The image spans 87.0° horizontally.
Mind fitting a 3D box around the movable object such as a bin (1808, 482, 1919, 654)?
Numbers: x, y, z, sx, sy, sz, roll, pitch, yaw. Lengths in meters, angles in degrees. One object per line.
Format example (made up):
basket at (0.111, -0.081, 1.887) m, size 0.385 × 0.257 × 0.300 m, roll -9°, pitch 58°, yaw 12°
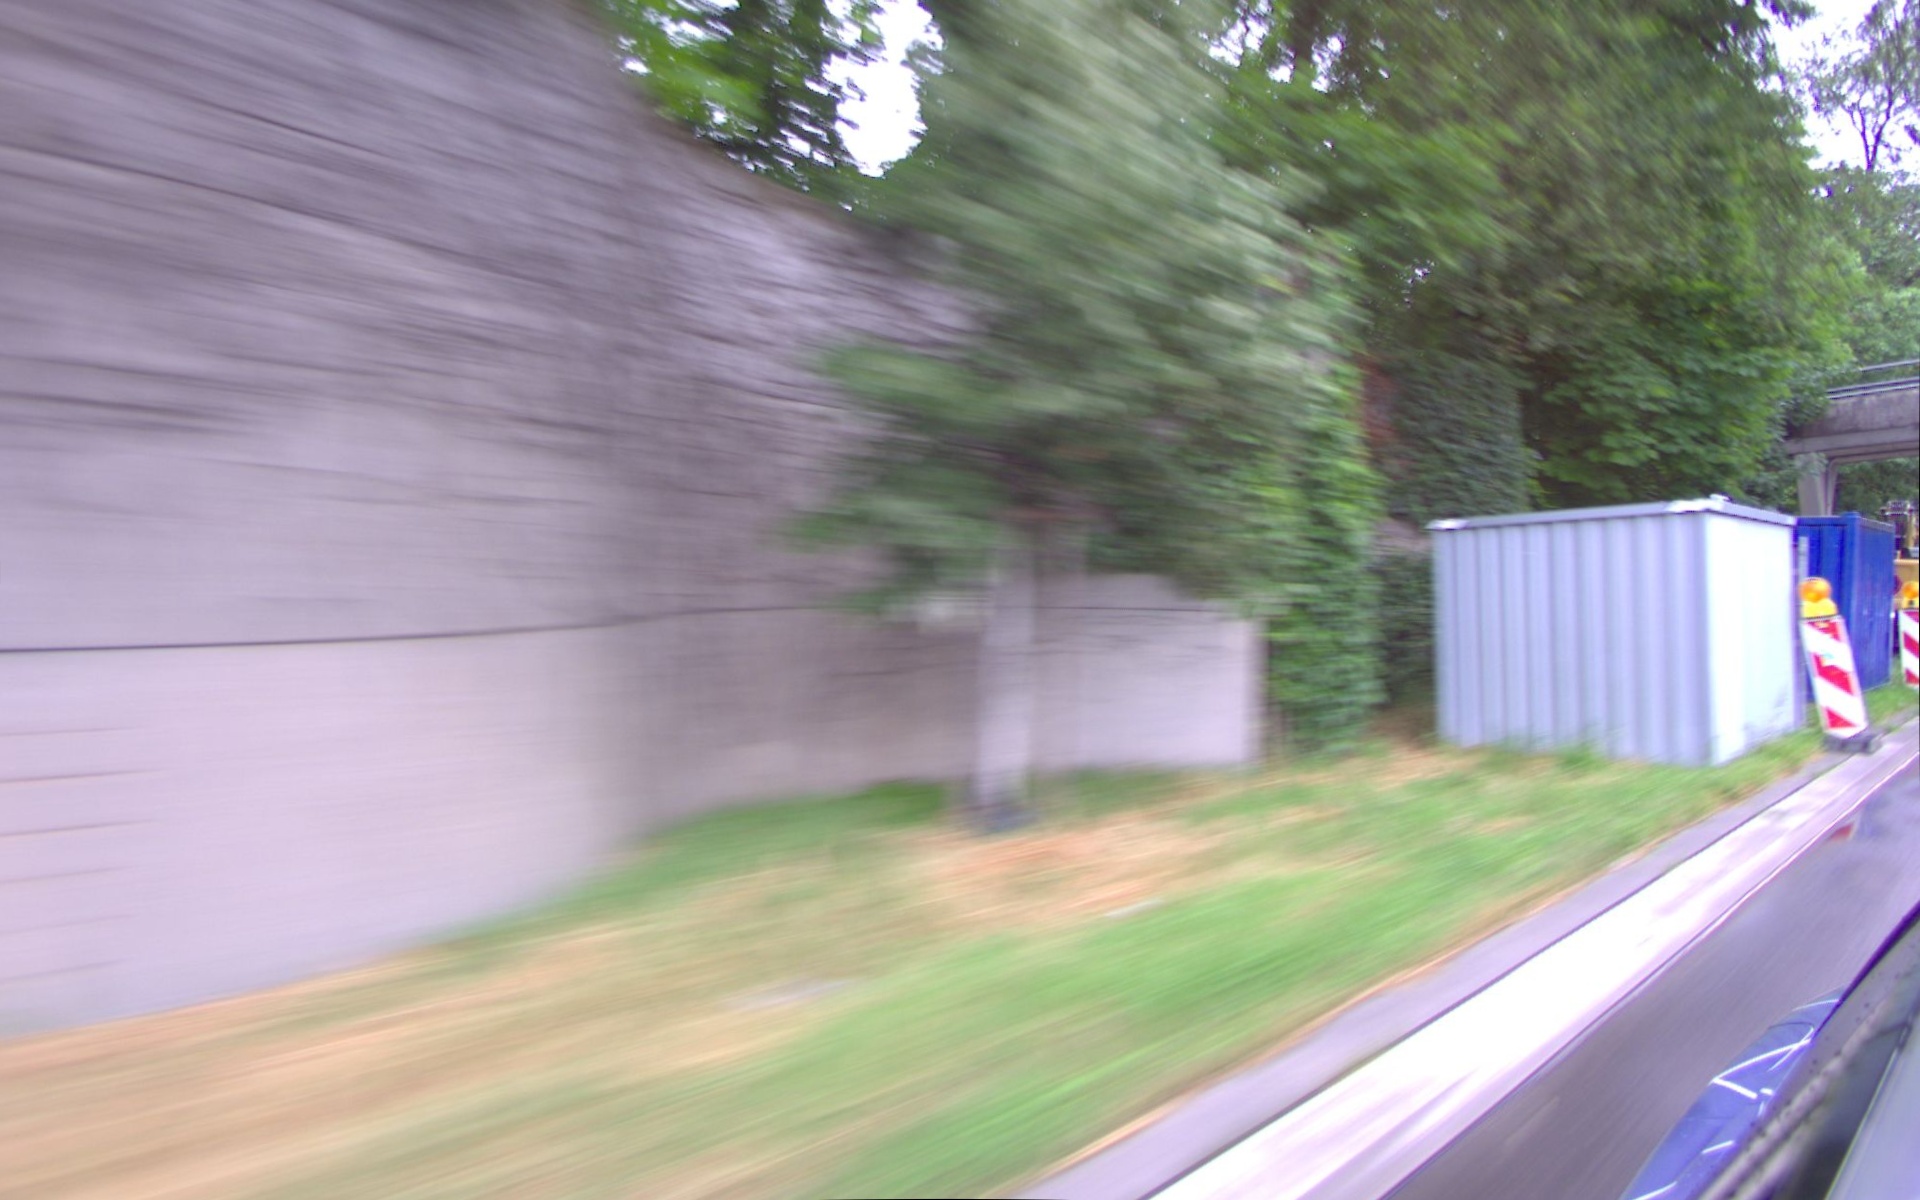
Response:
movable object such as a bin at (24.058, -0.781, 25.854) m, size 6.002 × 3.990 × 2.885 m, roll -1°, pitch 0°, yaw -42°
